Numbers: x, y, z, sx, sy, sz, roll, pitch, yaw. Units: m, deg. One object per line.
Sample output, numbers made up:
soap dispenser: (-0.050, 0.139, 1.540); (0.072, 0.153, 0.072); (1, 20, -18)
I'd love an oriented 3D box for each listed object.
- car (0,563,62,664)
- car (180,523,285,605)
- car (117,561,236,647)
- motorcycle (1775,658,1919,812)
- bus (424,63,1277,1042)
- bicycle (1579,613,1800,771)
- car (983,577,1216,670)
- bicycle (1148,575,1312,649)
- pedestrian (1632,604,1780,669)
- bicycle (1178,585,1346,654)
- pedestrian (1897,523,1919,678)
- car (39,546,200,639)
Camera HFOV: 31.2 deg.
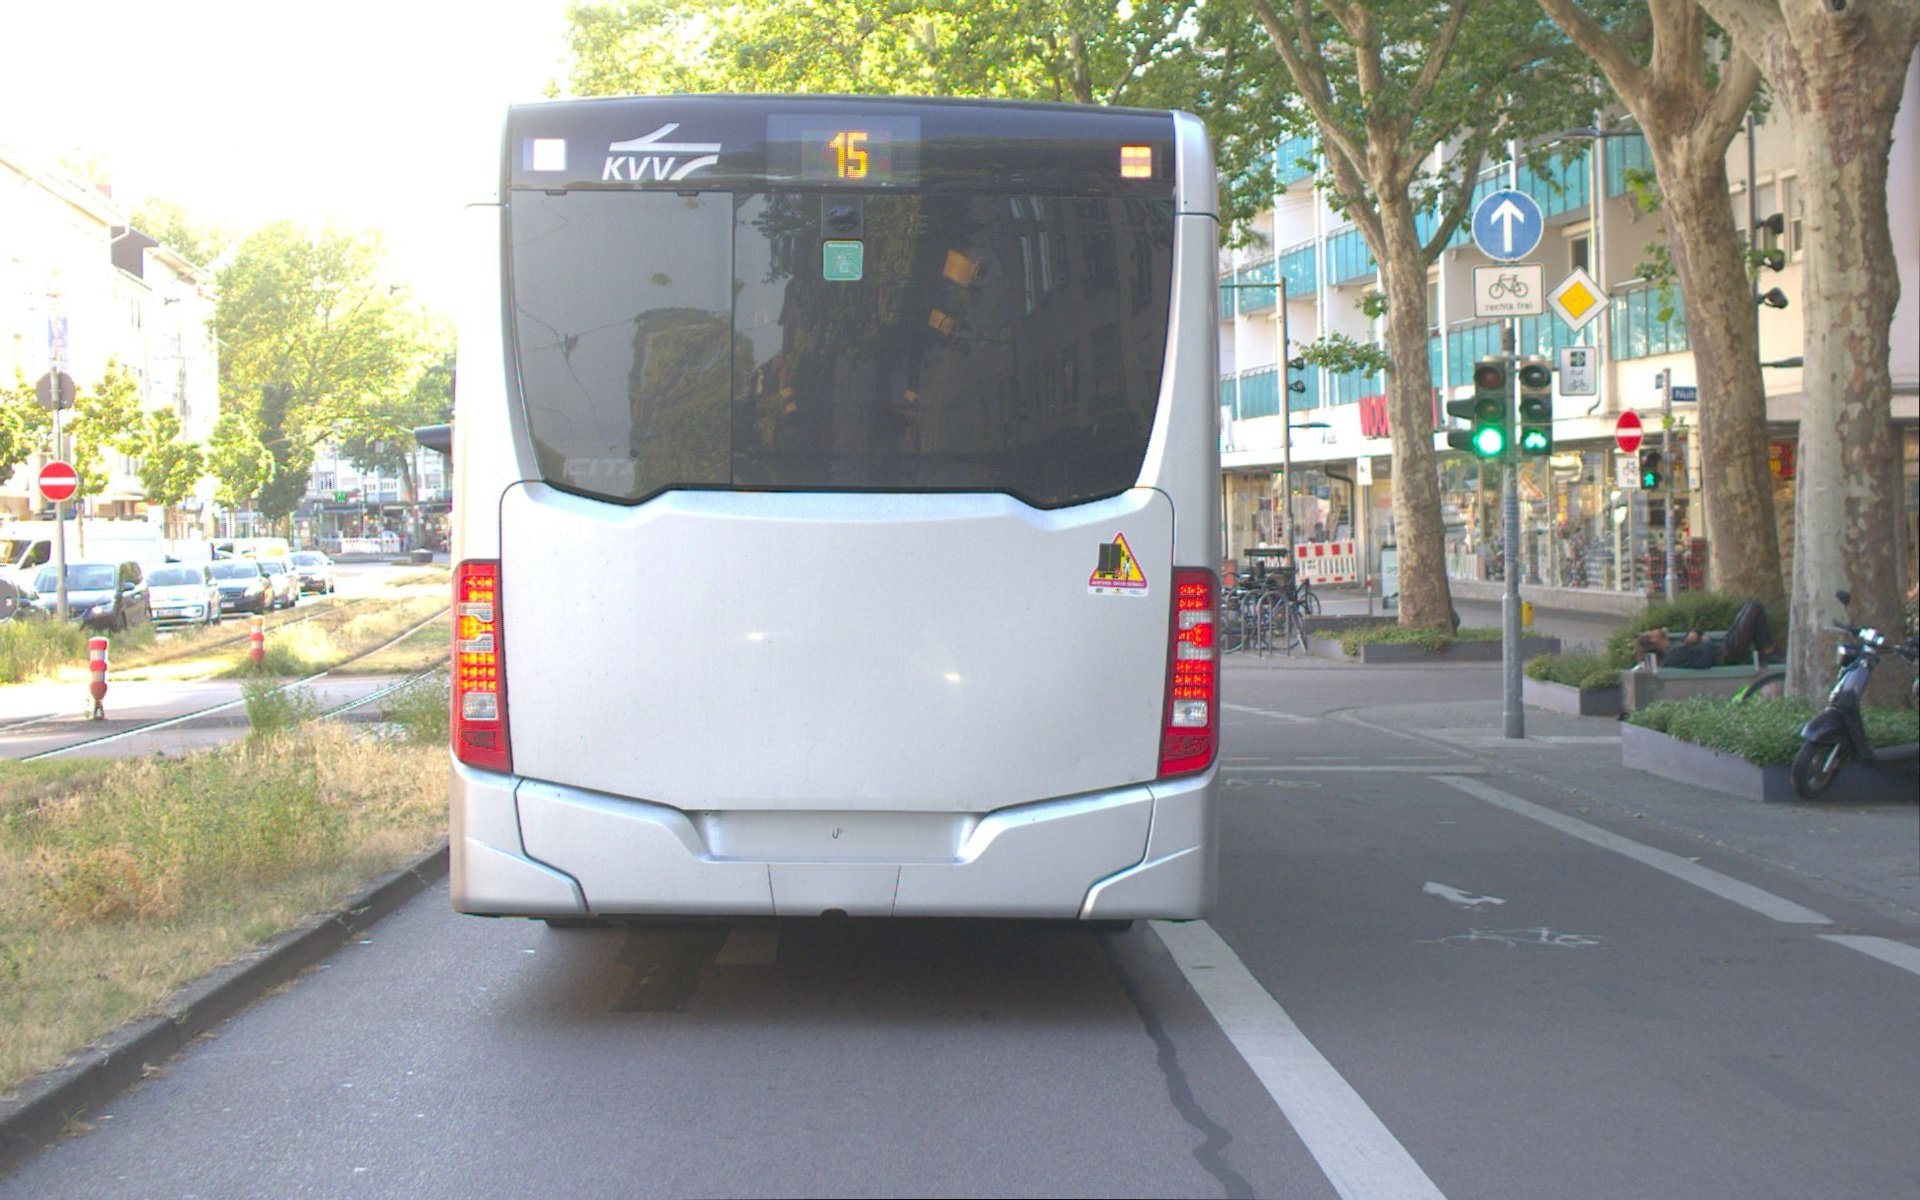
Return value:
car: (-15.438, 0.250, 53.365); (1.780, 1.445, 4.044); (-3, 2, 1)
car: (-18.351, -0.918, 86.873); (1.993, 2.007, 4.001); (-1, 1, -3)
car: (-17.248, 0.064, 75.818); (1.897, 1.798, 4.001); (-1, 1, -3)
motorcycle: (5.820, 0.806, 20.902); (1.570, 0.889, 0.544); (-1, 1, -3)
bus: (-0.337, -0.215, 14.372); (2.678, 3.073, 7.114); (0, 1, 0)
bicycle: (5.454, 0.685, 25.731); (1.509, 1.101, 0.460); (2, 1, 0)
car: (2.487, 0.394, 60.582); (1.998, 1.525, 3.990); (0, 1, 42)
bicycle: (4.055, 0.177, 51.654); (2.309, 1.025, 0.837); (-1, 2, -8)
pedestrian: (6.913, 0.338, 31.881); (1.254, 0.587, 0.482); (0, 1, -2)
bicycle: (4.424, 0.280, 50.374); (2.309, 0.936, 0.837); (-1, 2, -8)
pedestrian: (11.445, -0.006, 40.114); (0.780, 1.788, 0.764); (-1, 1, -1)
car: (-15.404, -0.165, 63.216); (1.780, 1.609, 4.508); (0, 1, 1)
